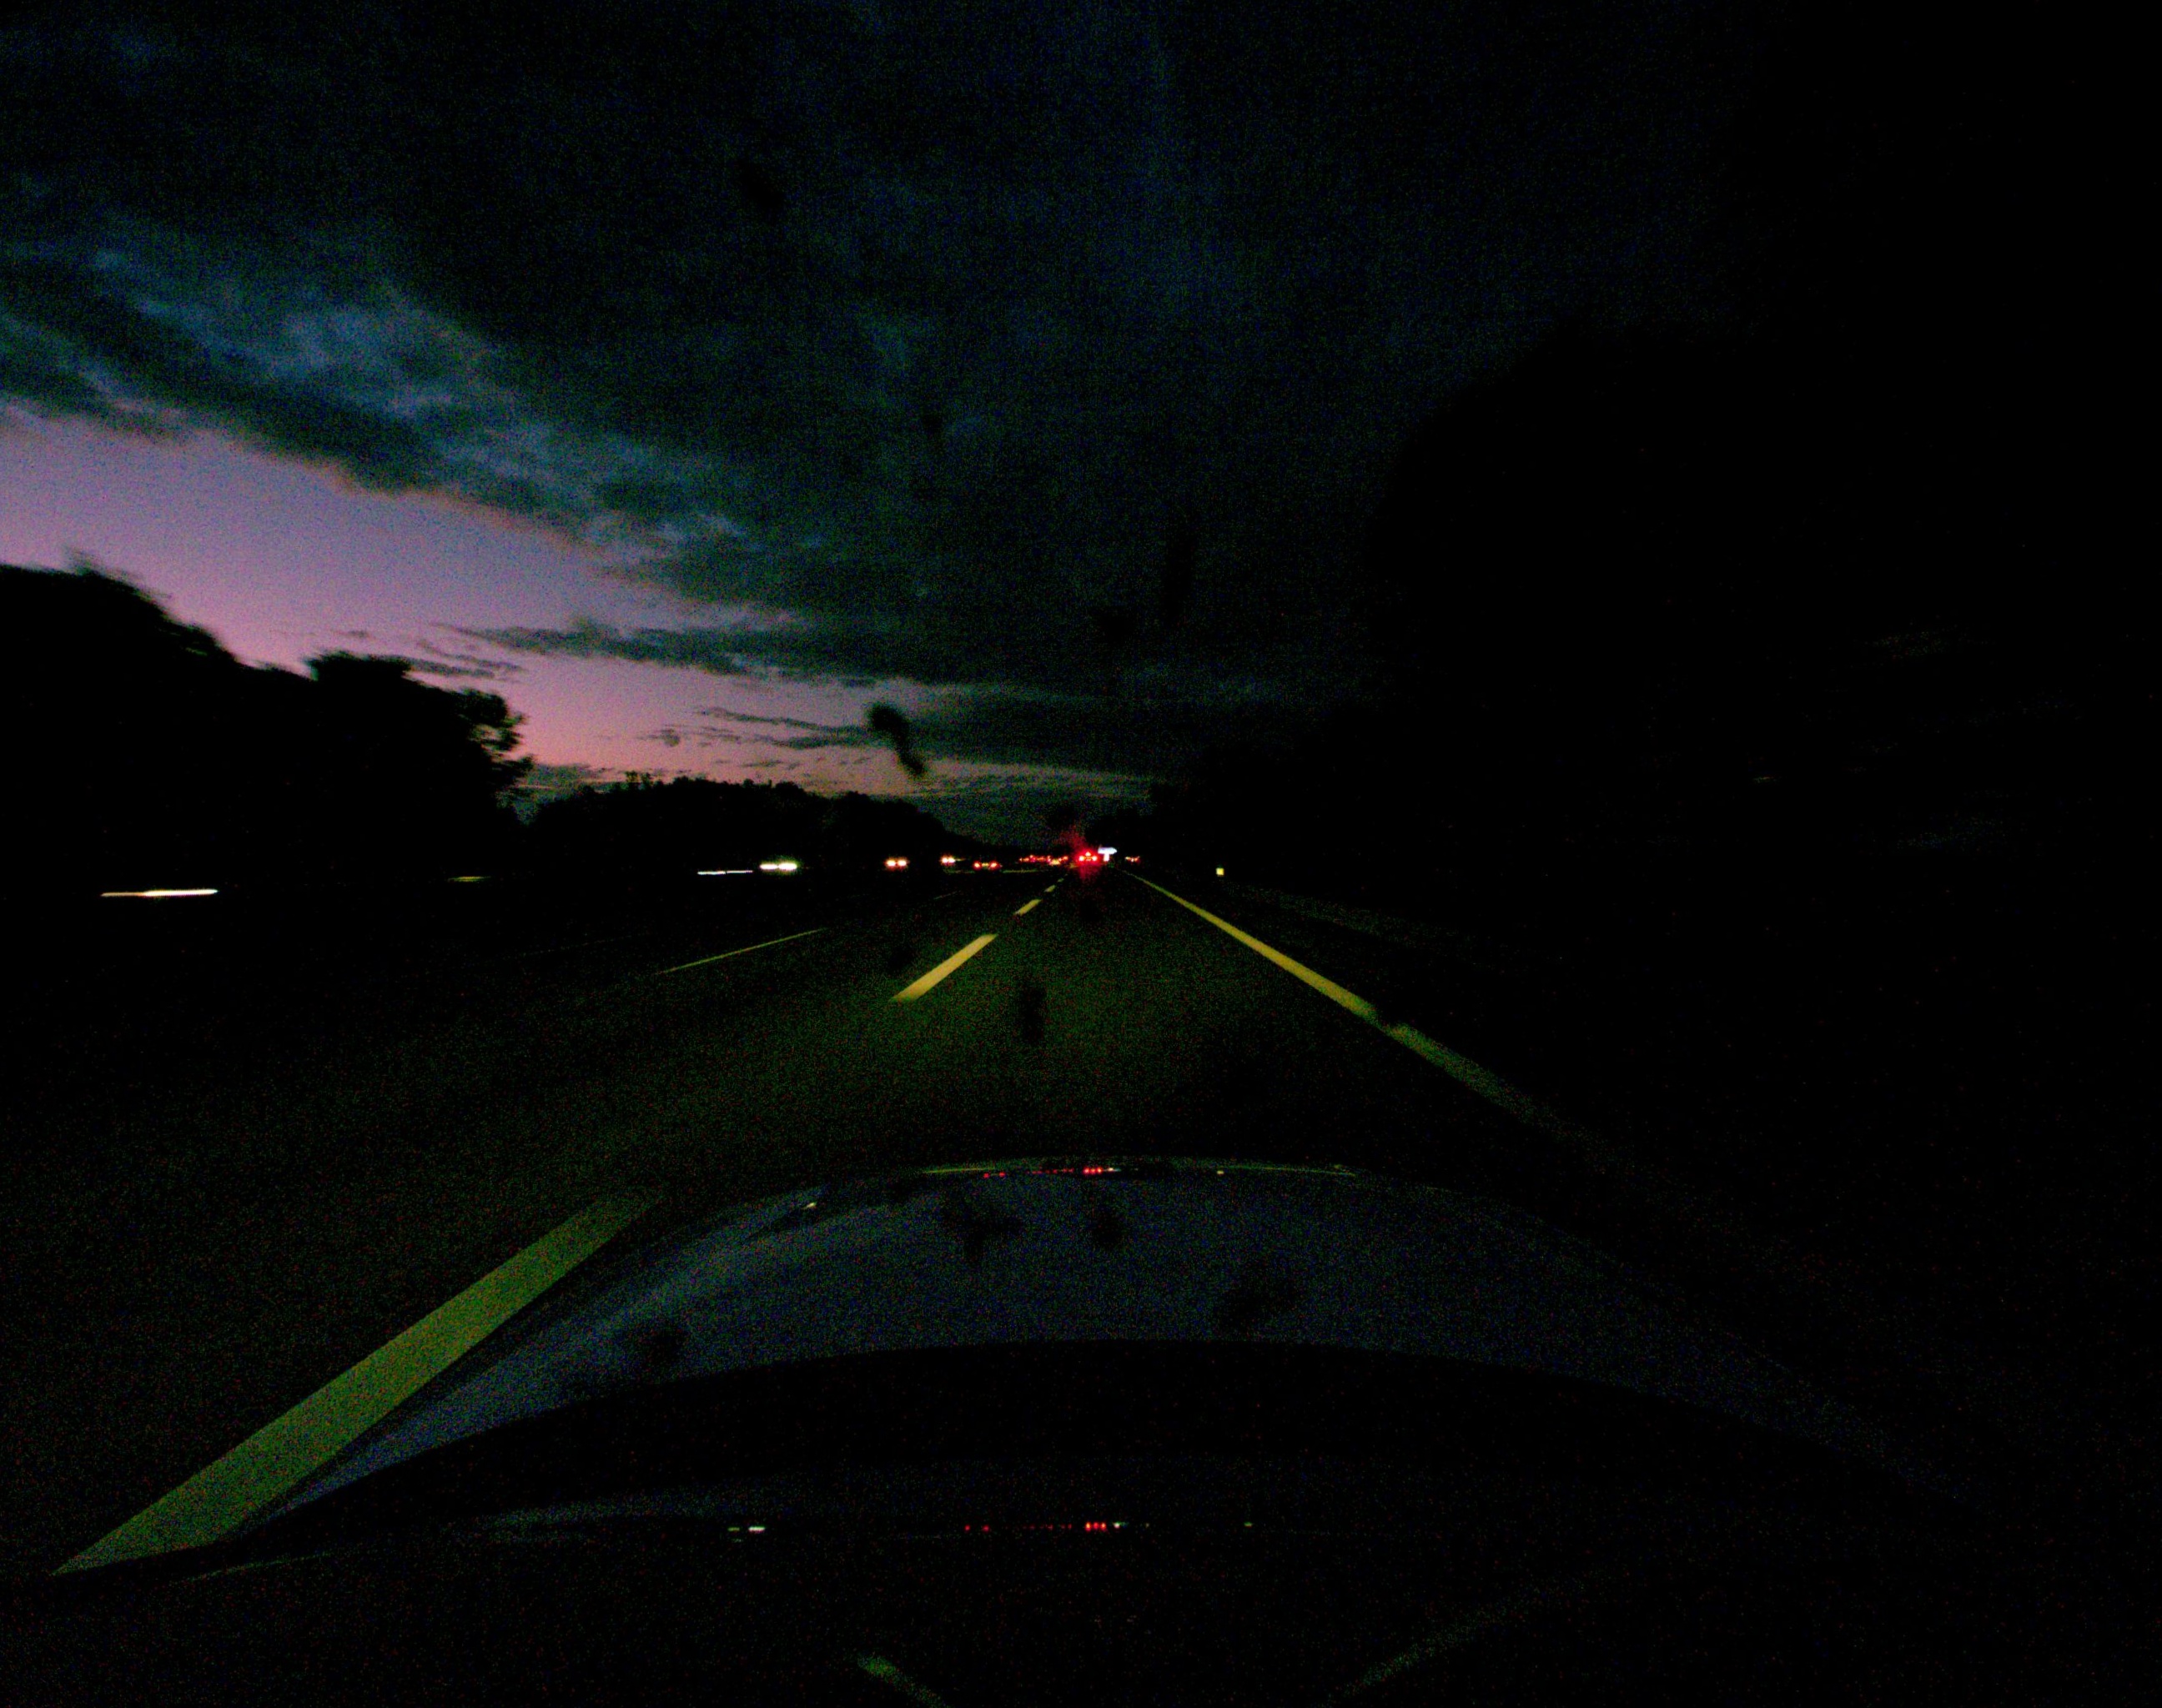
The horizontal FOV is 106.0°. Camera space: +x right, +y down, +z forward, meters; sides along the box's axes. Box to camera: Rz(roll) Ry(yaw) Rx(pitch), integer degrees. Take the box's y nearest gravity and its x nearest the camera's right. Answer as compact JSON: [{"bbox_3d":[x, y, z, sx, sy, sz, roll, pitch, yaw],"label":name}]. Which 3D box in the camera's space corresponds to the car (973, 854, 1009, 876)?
[{"bbox_3d":[-7.101,0.851,64.604,1.984,1.642,4.560,-1,0,4],"label":"car"}]

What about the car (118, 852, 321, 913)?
[{"bbox_3d":[-31.208,0.936,29.781,1.986,2.013,5.012,-1,0,1],"label":"car"}]

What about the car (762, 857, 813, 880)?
[{"bbox_3d":[-22.418,1.077,62.505,1.986,1.664,5.011,-1,0,1],"label":"car"}]

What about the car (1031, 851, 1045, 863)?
[{"bbox_3d":[-7.480,0.484,143.333,2.063,2.013,4.002,-1,0,2],"label":"car"}]

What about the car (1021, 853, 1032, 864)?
[{"bbox_3d":[-11.058,0.887,165.444,2.099,2.013,3.996,-2,0,-2],"label":"car"}]

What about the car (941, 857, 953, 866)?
[{"bbox_3d":[-28.203,1.585,171.836,2.022,2.013,4.235,-1,0,-2],"label":"car"}]

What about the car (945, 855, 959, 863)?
[{"bbox_3d":[-24.333,0.911,153.806,1.987,1.546,4.000,-1,0,0],"label":"car"}]

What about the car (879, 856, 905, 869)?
[{"bbox_3d":[-23.685,1.061,102.113,1.986,1.610,4.560,-1,0,2],"label":"car"}]

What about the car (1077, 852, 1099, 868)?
[{"bbox_3d":[0.713,0.607,84.893,1.989,1.659,4.310,-1,0,-3],"label":"car"}]

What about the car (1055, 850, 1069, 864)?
[{"bbox_3d":[-2.992,0.471,130.210,1.986,2.013,4.002,-1,0,2],"label":"car"}]

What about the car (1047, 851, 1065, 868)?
[{"bbox_3d":[-3.143,0.656,102.050,1.986,2.014,4.001,-1,0,1],"label":"car"}]

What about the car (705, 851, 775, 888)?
[{"bbox_3d":[-19.630,0.830,47.073,1.986,2.013,4.491,-1,0,2],"label":"car"}]

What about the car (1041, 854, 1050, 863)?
[{"bbox_3d":[-8.243,0.996,187.055,1.990,2.014,3.994,-1,-1,-4],"label":"car"}]
